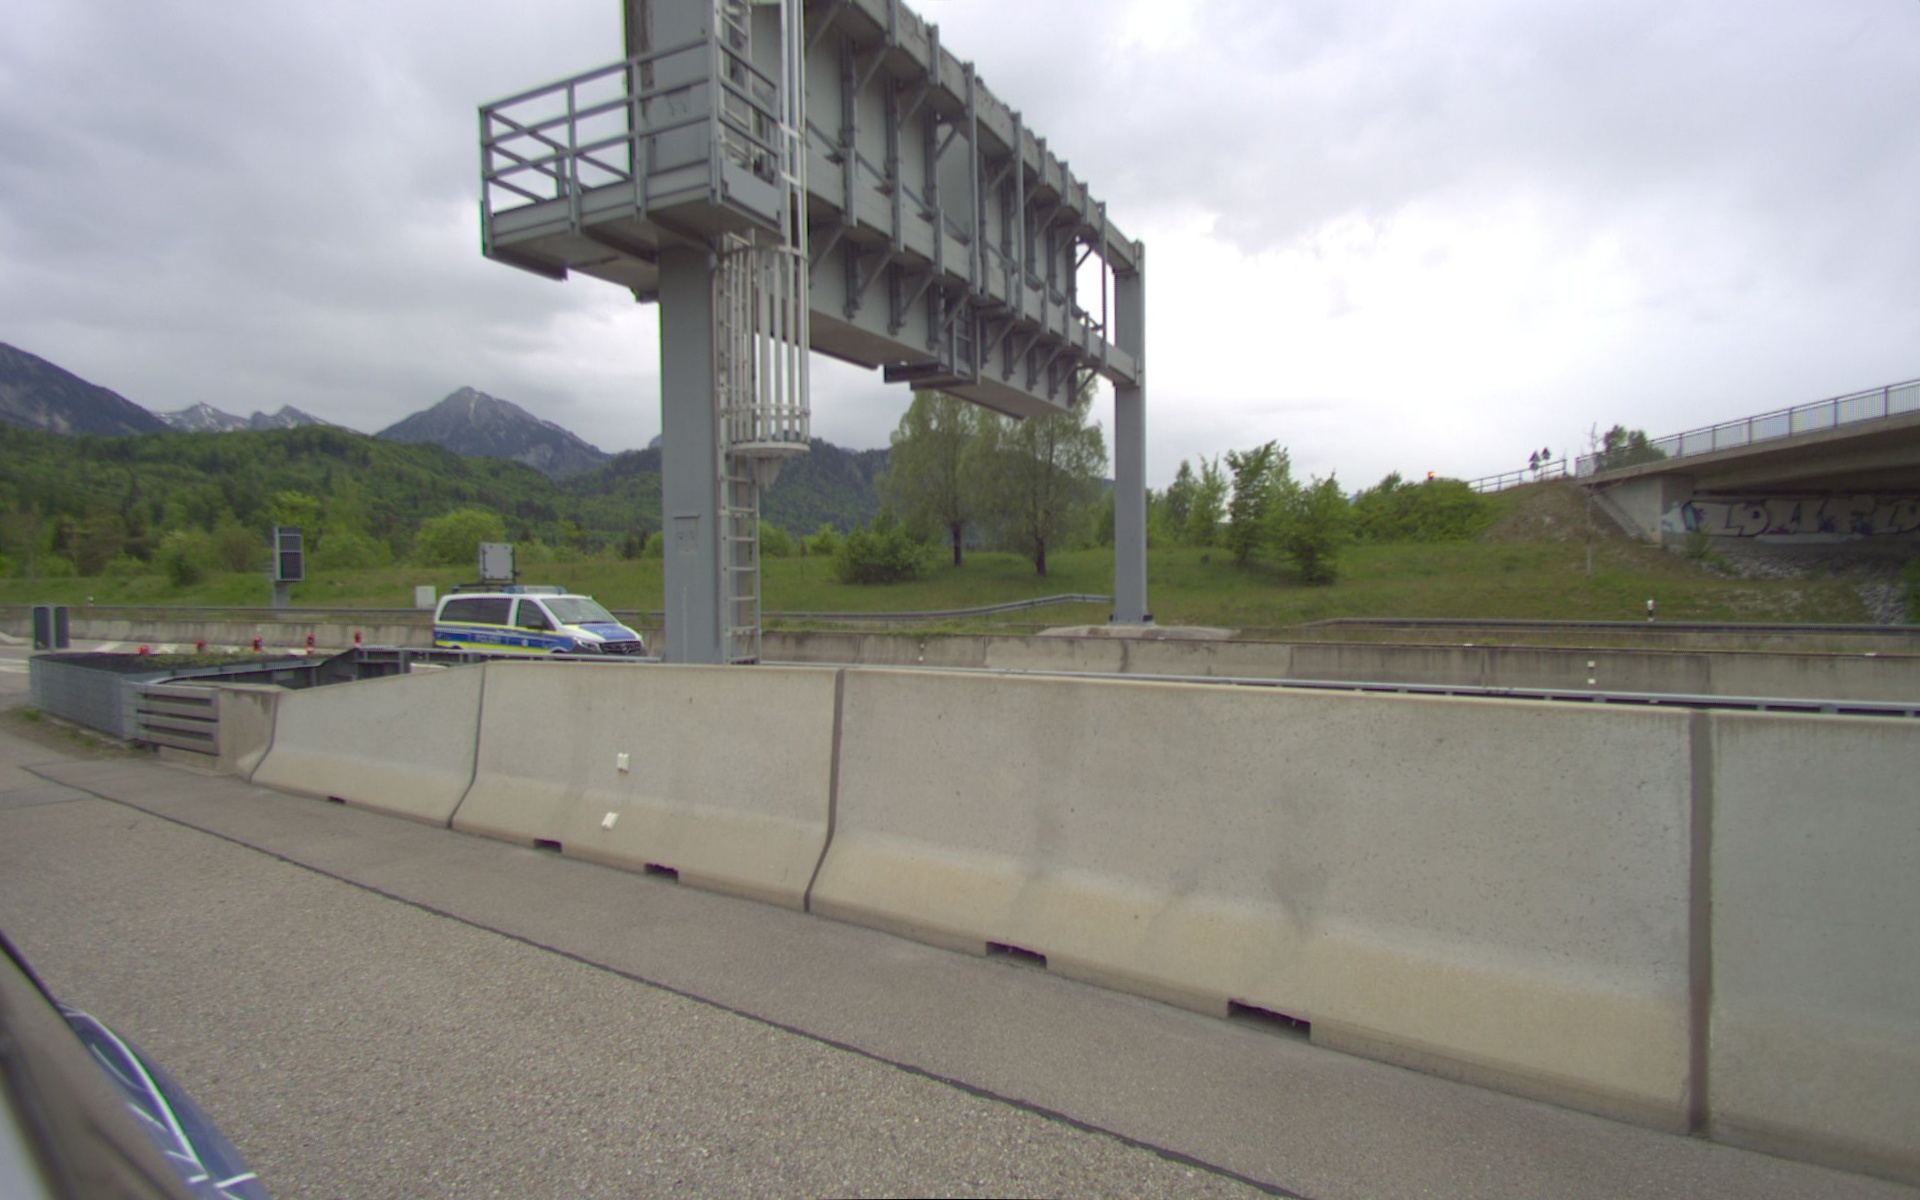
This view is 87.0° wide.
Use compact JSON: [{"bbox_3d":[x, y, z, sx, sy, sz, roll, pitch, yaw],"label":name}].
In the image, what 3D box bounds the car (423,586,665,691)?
[{"bbox_3d":[-8.949,0.770,21.688,5.028,2.029,2.085,0,-1,28],"label":"car"}]
